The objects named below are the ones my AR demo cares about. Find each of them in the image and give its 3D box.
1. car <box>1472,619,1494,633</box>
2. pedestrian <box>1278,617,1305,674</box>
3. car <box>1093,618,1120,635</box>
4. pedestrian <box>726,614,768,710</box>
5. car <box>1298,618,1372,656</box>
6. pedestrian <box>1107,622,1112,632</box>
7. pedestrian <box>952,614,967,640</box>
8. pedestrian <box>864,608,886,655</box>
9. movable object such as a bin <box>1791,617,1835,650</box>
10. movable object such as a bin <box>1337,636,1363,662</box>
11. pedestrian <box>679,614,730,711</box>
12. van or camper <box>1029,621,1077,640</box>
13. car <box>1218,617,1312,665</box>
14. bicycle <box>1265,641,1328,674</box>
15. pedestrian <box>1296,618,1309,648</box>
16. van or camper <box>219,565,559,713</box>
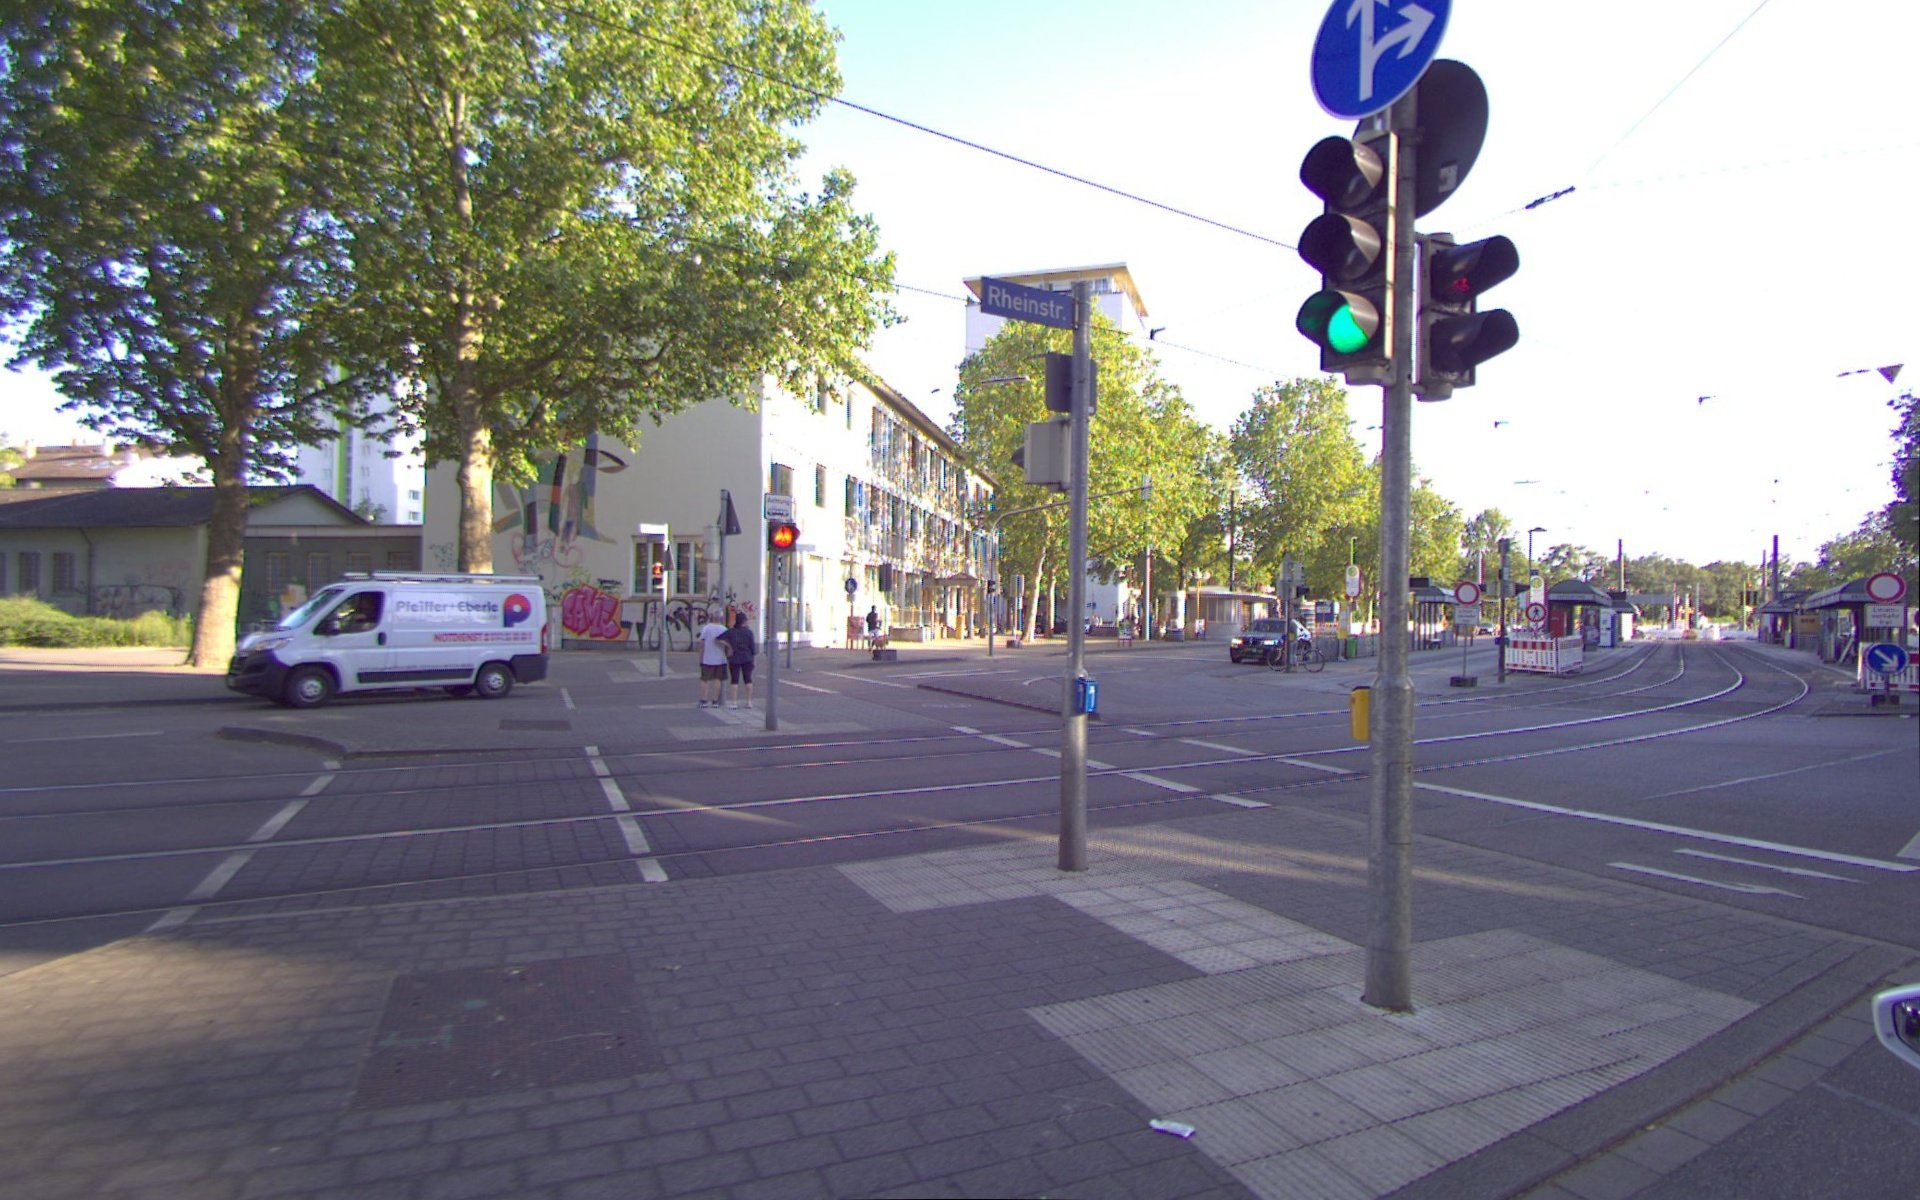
[{"bbox_3d":[60.877,3.061,116.858,1.860,1.551,4.195,0,-1,34],"label":"car"},{"bbox_3d":[10.359,1.408,31.392,0.710,1.748,0.398,0,-1,36],"label":"pedestrian"},{"bbox_3d":[15.148,2.736,103.598,1.960,1.586,4.000,2,1,19],"label":"car"},{"bbox_3d":[-3.466,0.999,16.321,0.403,1.524,0.514,0,-1,42],"label":"pedestrian"},{"bbox_3d":[16.393,1.588,43.768,1.862,1.551,4.190,0,-1,38],"label":"car"},{"bbox_3d":[15.201,2.741,102.209,0.385,1.086,0.389,1,0,17],"label":"pedestrian"},{"bbox_3d":[-0.036,1.480,55.497,0.663,1.414,0.693,2,1,11],"label":"pedestrian"},{"bbox_3d":[-3.169,1.166,37.332,0.663,1.733,0.431,2,1,18],"label":"pedestrian"},{"bbox_3d":[67.576,2.605,79.611,2.463,2.510,5.332,0,-1,39],"label":"movable object such as a bin"},{"bbox_3d":[14.316,1.797,36.868,0.662,0.878,0.699,2,1,39],"label":"movable object such as a bin"},{"bbox_3d":[-4.131,0.988,16.237,0.514,1.524,0.590,0,-1,43],"label":"pedestrian"},{"bbox_3d":[8.015,2.633,86.804,3.923,1.572,1.828,1,-1,-3],"label":"van or camper"},{"bbox_3d":[11.064,1.453,36.299,1.862,1.606,4.190,0,-1,38],"label":"car"},{"bbox_3d":[10.623,1.810,31.738,1.816,0.955,0.462,0,-1,36],"label":"bicycle"},{"bbox_3d":[23.679,2.253,69.433,0.697,2.040,0.742,1,-1,29],"label":"pedestrian"},{"bbox_3d":[-10.359,0.702,18.569,2.144,2.349,5.075,-2,-3,43],"label":"van or camper"}]
